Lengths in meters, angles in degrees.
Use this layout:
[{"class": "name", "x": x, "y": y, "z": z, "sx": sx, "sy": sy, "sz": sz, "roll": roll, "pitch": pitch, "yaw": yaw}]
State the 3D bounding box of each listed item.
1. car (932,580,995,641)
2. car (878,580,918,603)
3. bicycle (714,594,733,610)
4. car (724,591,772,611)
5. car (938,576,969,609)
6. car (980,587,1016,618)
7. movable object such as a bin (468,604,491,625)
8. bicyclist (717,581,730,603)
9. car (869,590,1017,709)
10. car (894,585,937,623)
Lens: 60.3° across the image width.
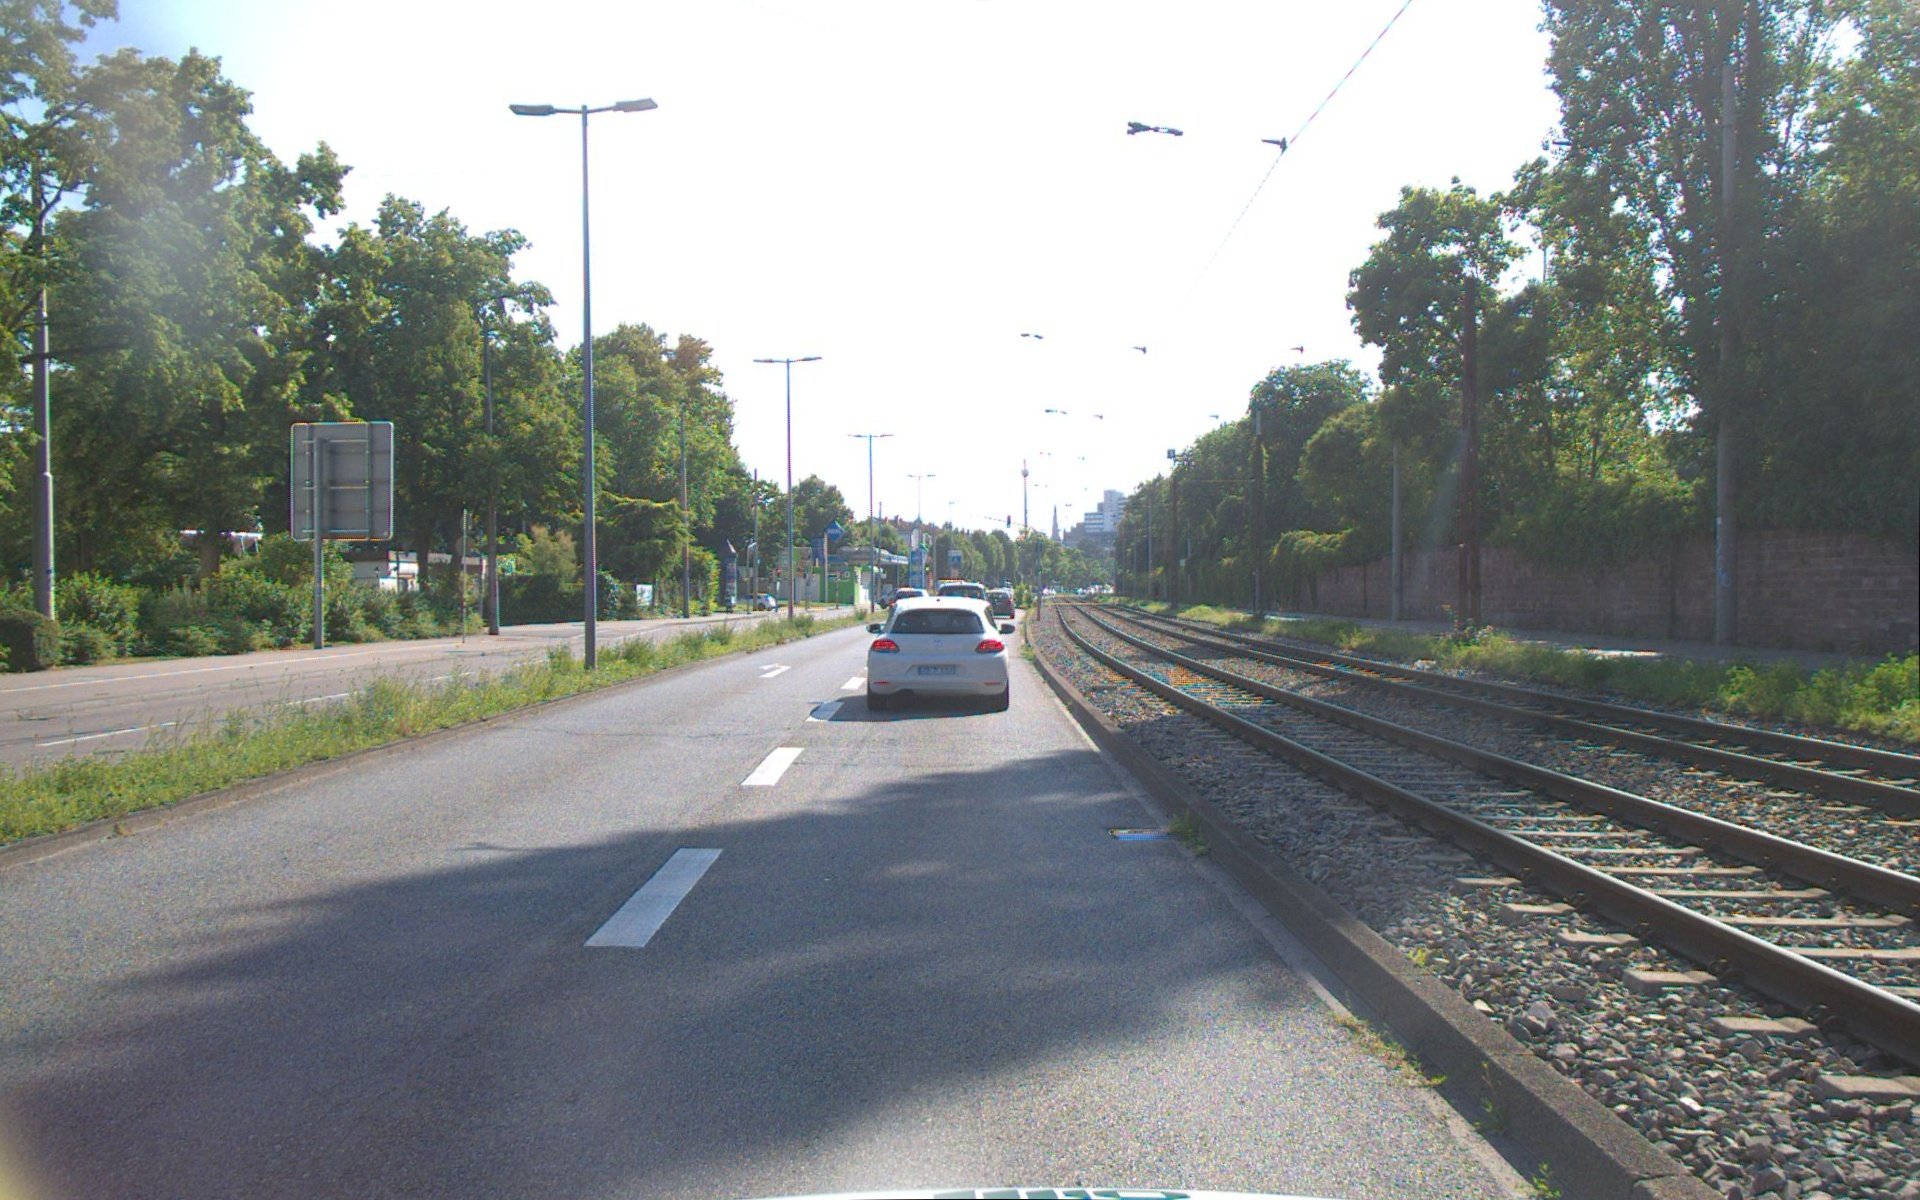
[{"class": "car", "x": 0.079, "y": 0.278, "z": 46.728, "sx": 1.689, "sy": 1.620, "sz": 3.601, "roll": 1, "pitch": 0, "yaw": -1}, {"class": "car", "x": -4.933, "y": -0.655, "z": 131.044, "sx": 1.631, "sy": 1.764, "sz": 3.918, "roll": 2, "pitch": 0, "yaw": -27}, {"class": "bicycle", "x": -16.167, "y": 0.149, "z": 112.902, "sx": 0.647, "sy": 1.068, "sz": 2.582, "roll": -1, "pitch": 0, "yaw": 6}, {"class": "car", "x": -17.645, "y": 0.092, "z": 137.749, "sx": 3.514, "sy": 1.616, "sz": 1.699, "roll": 2, "pitch": 0, "yaw": 21}, {"class": "car", "x": -0.392, "y": -0.443, "z": 103.708, "sx": 1.780, "sy": 1.997, "sz": 4.403, "roll": -1, "pitch": 0, "yaw": 2}, {"class": "car", "x": 1.942, "y": 0.116, "z": 85.237, "sx": 1.713, "sy": 1.511, "sz": 3.601, "roll": 1, "pitch": 0, "yaw": -1}, {"class": "movable object such as a bin", "x": -22.099, "y": 0.682, "z": 76.092, "sx": 0.799, "sy": 0.947, "sz": 0.853, "roll": -1, "pitch": 0, "yaw": 2}, {"class": "bicyclist", "x": -16.165, "y": -0.524, "z": 112.968, "sx": 0.647, "sy": 1.478, "sz": 1.051, "roll": -1, "pitch": 0, "yaw": 6}, {"class": "car", "x": -0.220, "y": 0.579, "z": 21.565, "sx": 1.744, "sy": 1.380, "sz": 3.601, "roll": 1, "pitch": 0, "yaw": -1}, {"class": "car", "x": -1.842, "y": 0.141, "z": 69.976, "sx": 1.724, "sy": 1.511, "sz": 4.644, "roll": 1, "pitch": 0, "yaw": -1}]
